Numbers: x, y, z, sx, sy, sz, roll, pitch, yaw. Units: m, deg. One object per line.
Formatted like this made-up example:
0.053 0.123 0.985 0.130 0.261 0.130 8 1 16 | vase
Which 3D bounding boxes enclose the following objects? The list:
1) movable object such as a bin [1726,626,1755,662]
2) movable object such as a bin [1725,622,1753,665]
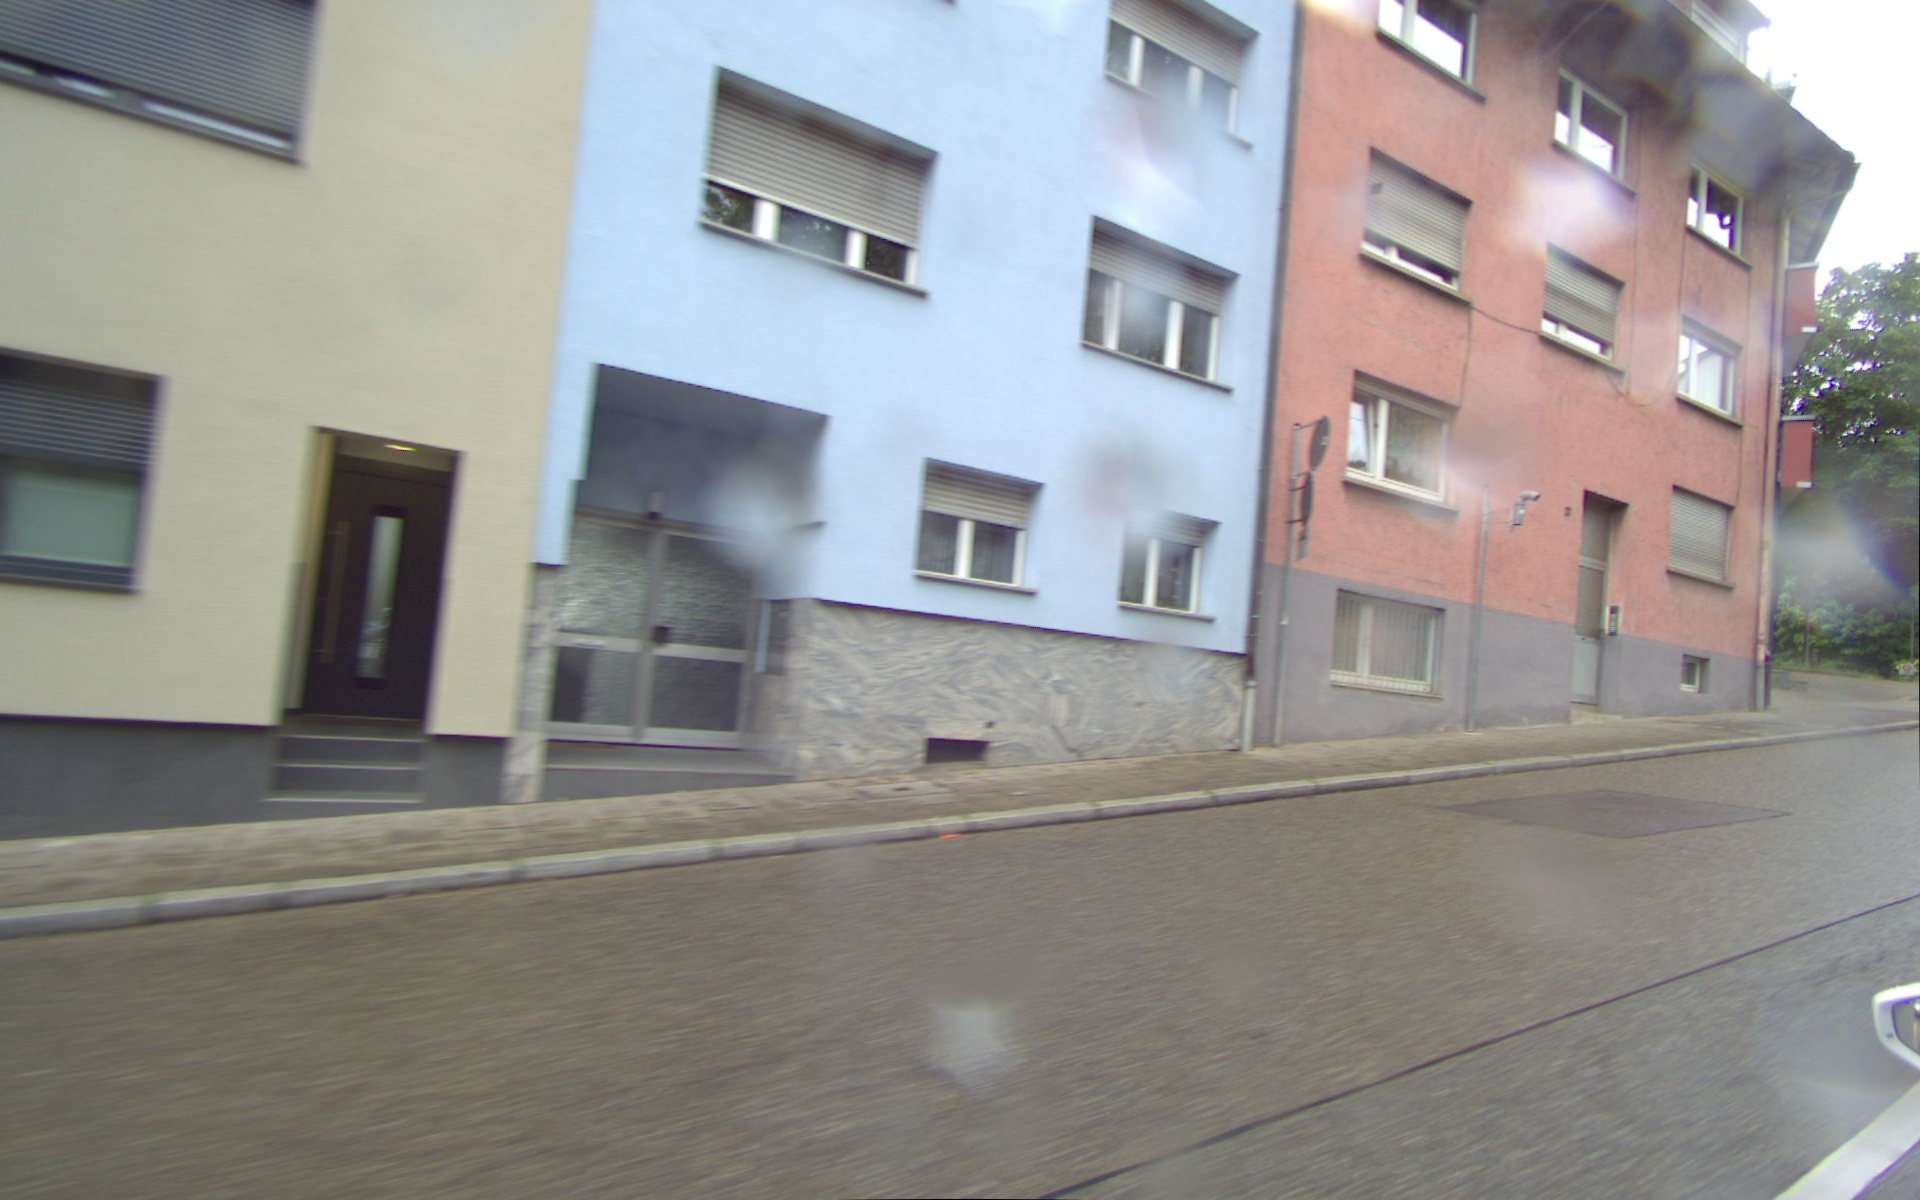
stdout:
23.212 1.312 29.870 0.619 1.029 0.499 3 0 35 | movable object such as a bin
22.788 1.262 29.394 0.552 1.215 0.687 3 0 34 | movable object such as a bin
